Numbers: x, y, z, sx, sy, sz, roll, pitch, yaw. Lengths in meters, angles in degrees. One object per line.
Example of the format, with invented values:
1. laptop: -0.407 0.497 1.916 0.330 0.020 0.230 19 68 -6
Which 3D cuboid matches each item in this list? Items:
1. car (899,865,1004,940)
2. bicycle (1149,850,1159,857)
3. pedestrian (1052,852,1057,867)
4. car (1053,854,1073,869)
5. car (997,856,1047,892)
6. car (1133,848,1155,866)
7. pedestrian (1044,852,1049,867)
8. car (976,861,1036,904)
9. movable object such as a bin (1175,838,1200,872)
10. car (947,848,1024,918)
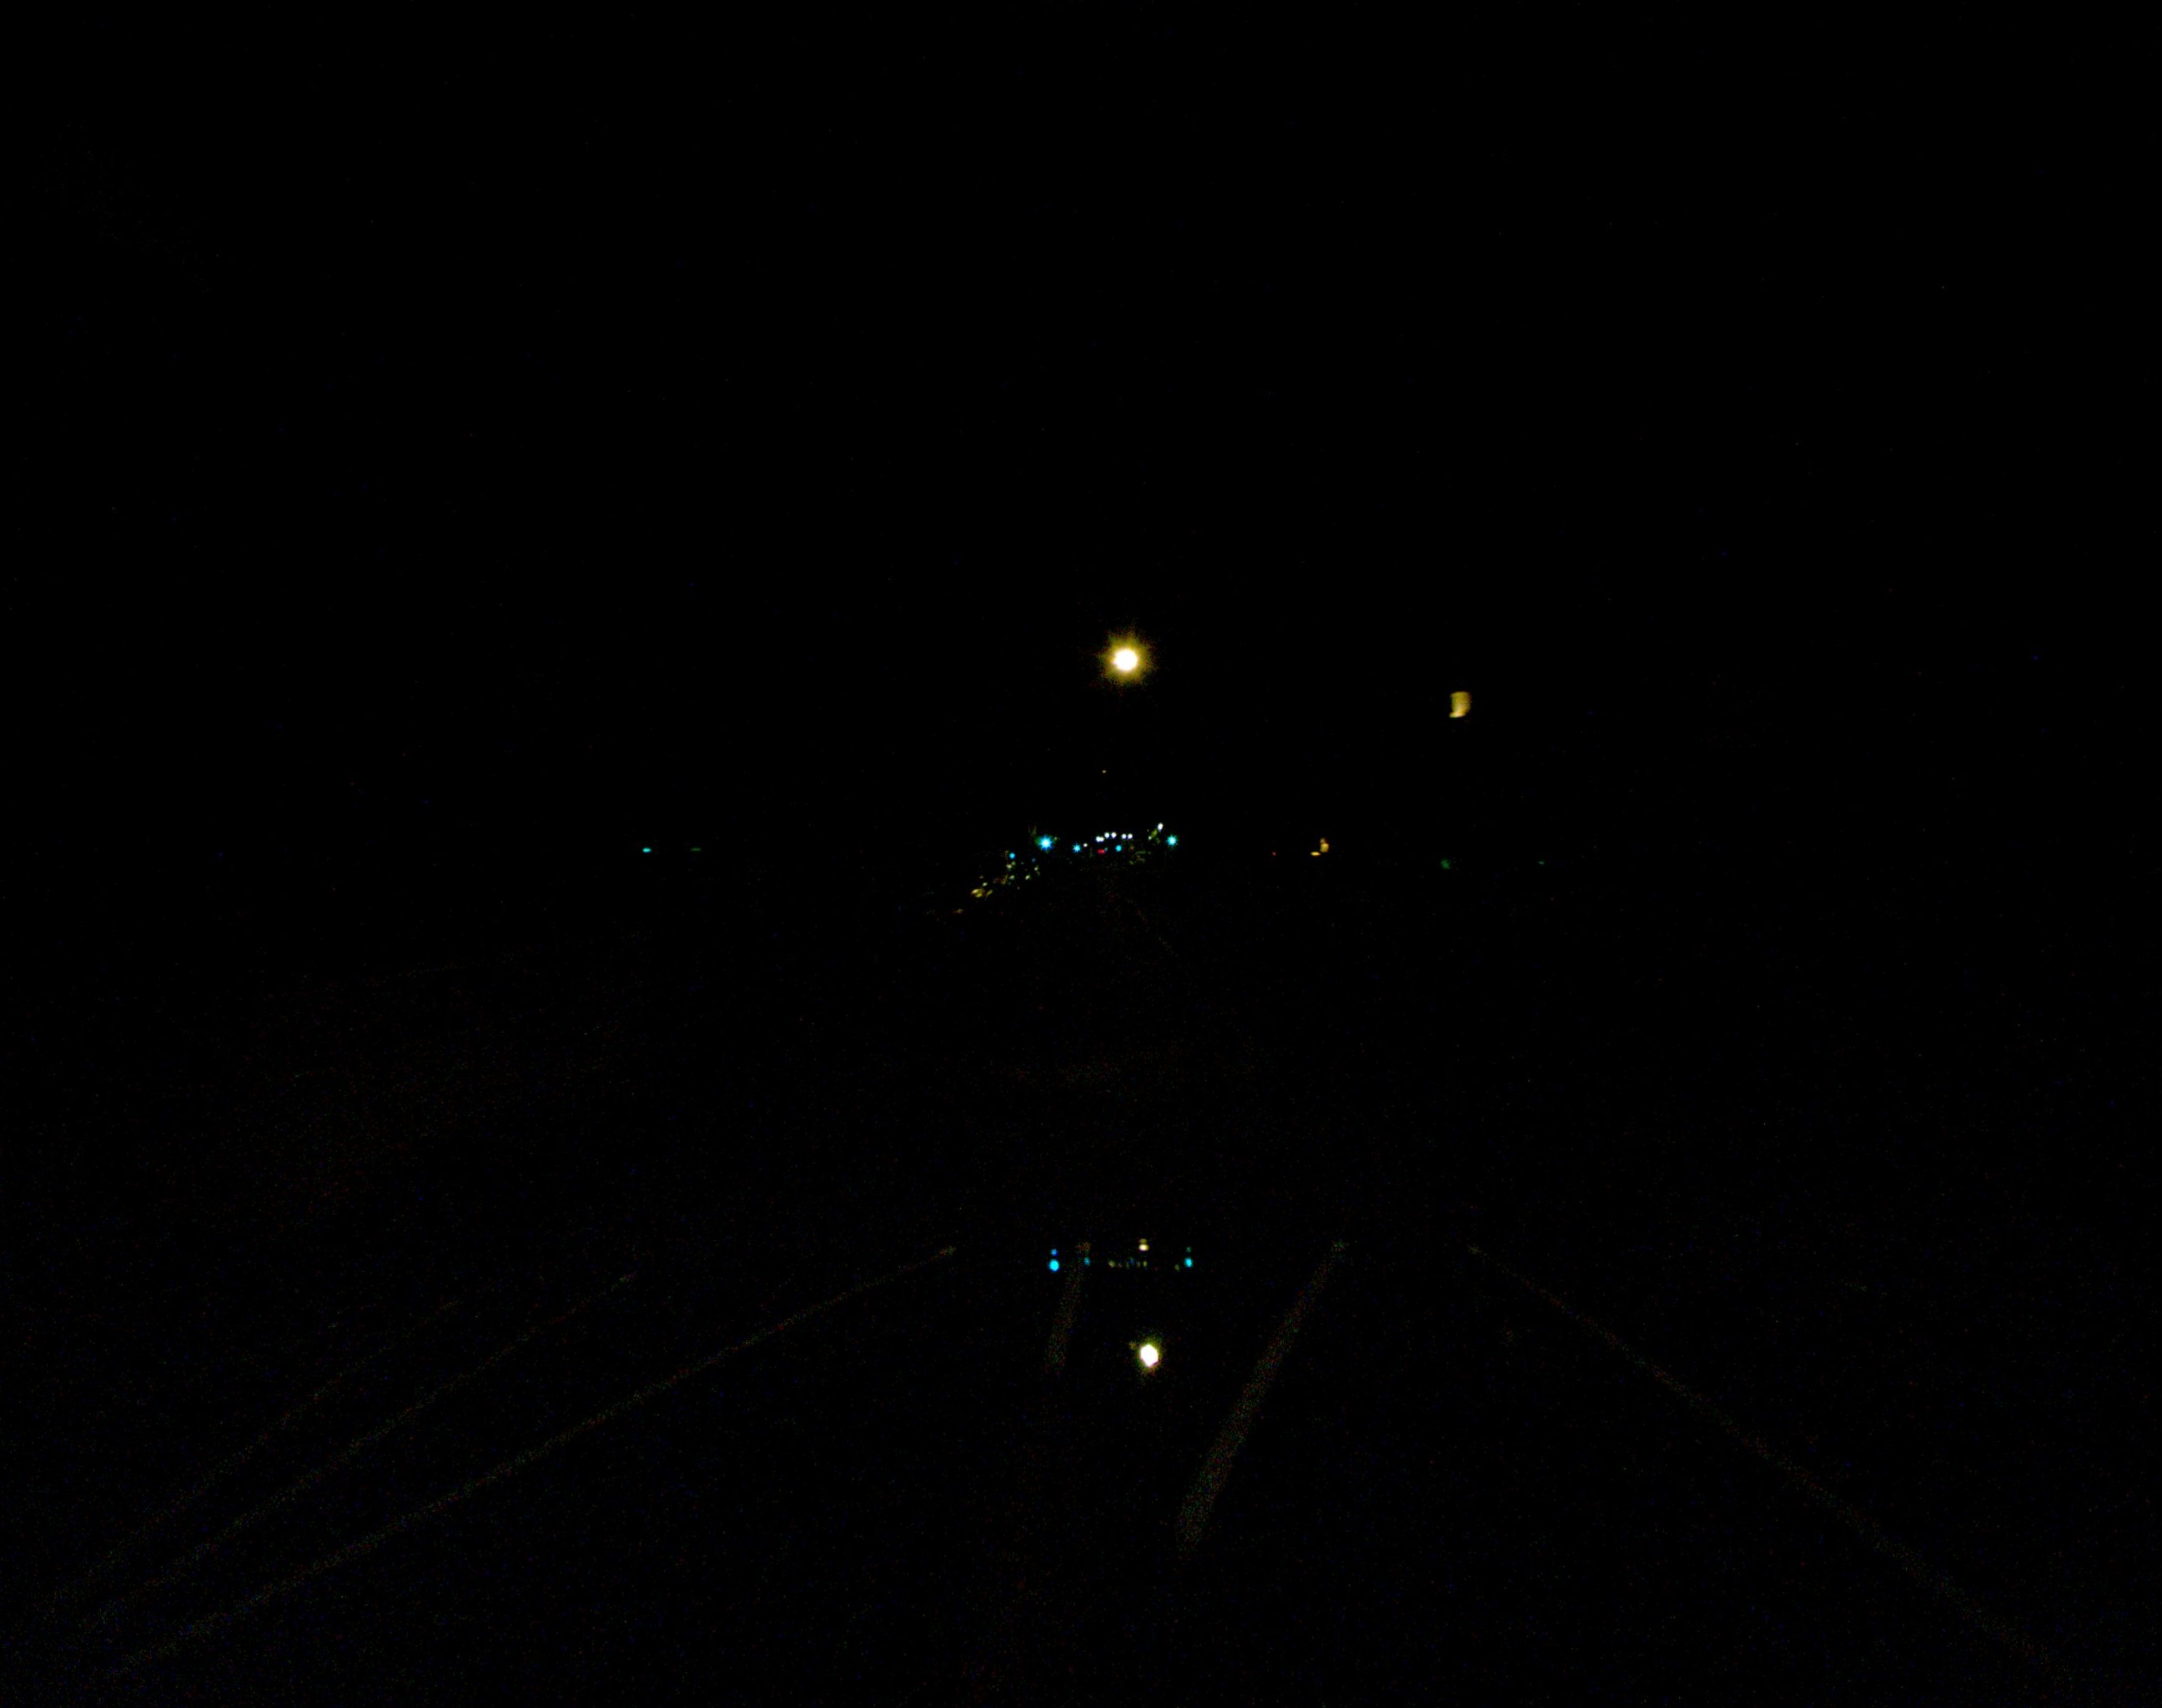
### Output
1. car: -2.810 0.999 17.333 1.732 1.411 4.322 -1 0 -1
2. bicycle: 12.220 -0.134 127.428 1.772 1.144 0.583 0 1 43
3. pedestrian: -2.993 0.602 84.954 0.508 1.699 0.705 -1 1 2
4. car: -1.892 0.766 81.134 1.740 1.446 4.000 -1 1 3
5. car: -2.544 0.833 33.420 1.744 1.469 4.000 1 0 1
6. car: 6.729 0.249 81.620 1.887 1.832 4.814 -1 0 0
7. pedestrian: -3.875 0.588 84.924 0.478 1.699 0.571 -1 1 2
8. car: -2.651 0.978 27.865 1.690 1.412 4.443 0 0 1
9. movable object such as a bin: 8.499 0.070 60.644 1.575 2.611 3.910 0 0 2
10. car: -2.661 0.755 22.124 1.740 1.844 4.316 0 0 -1
